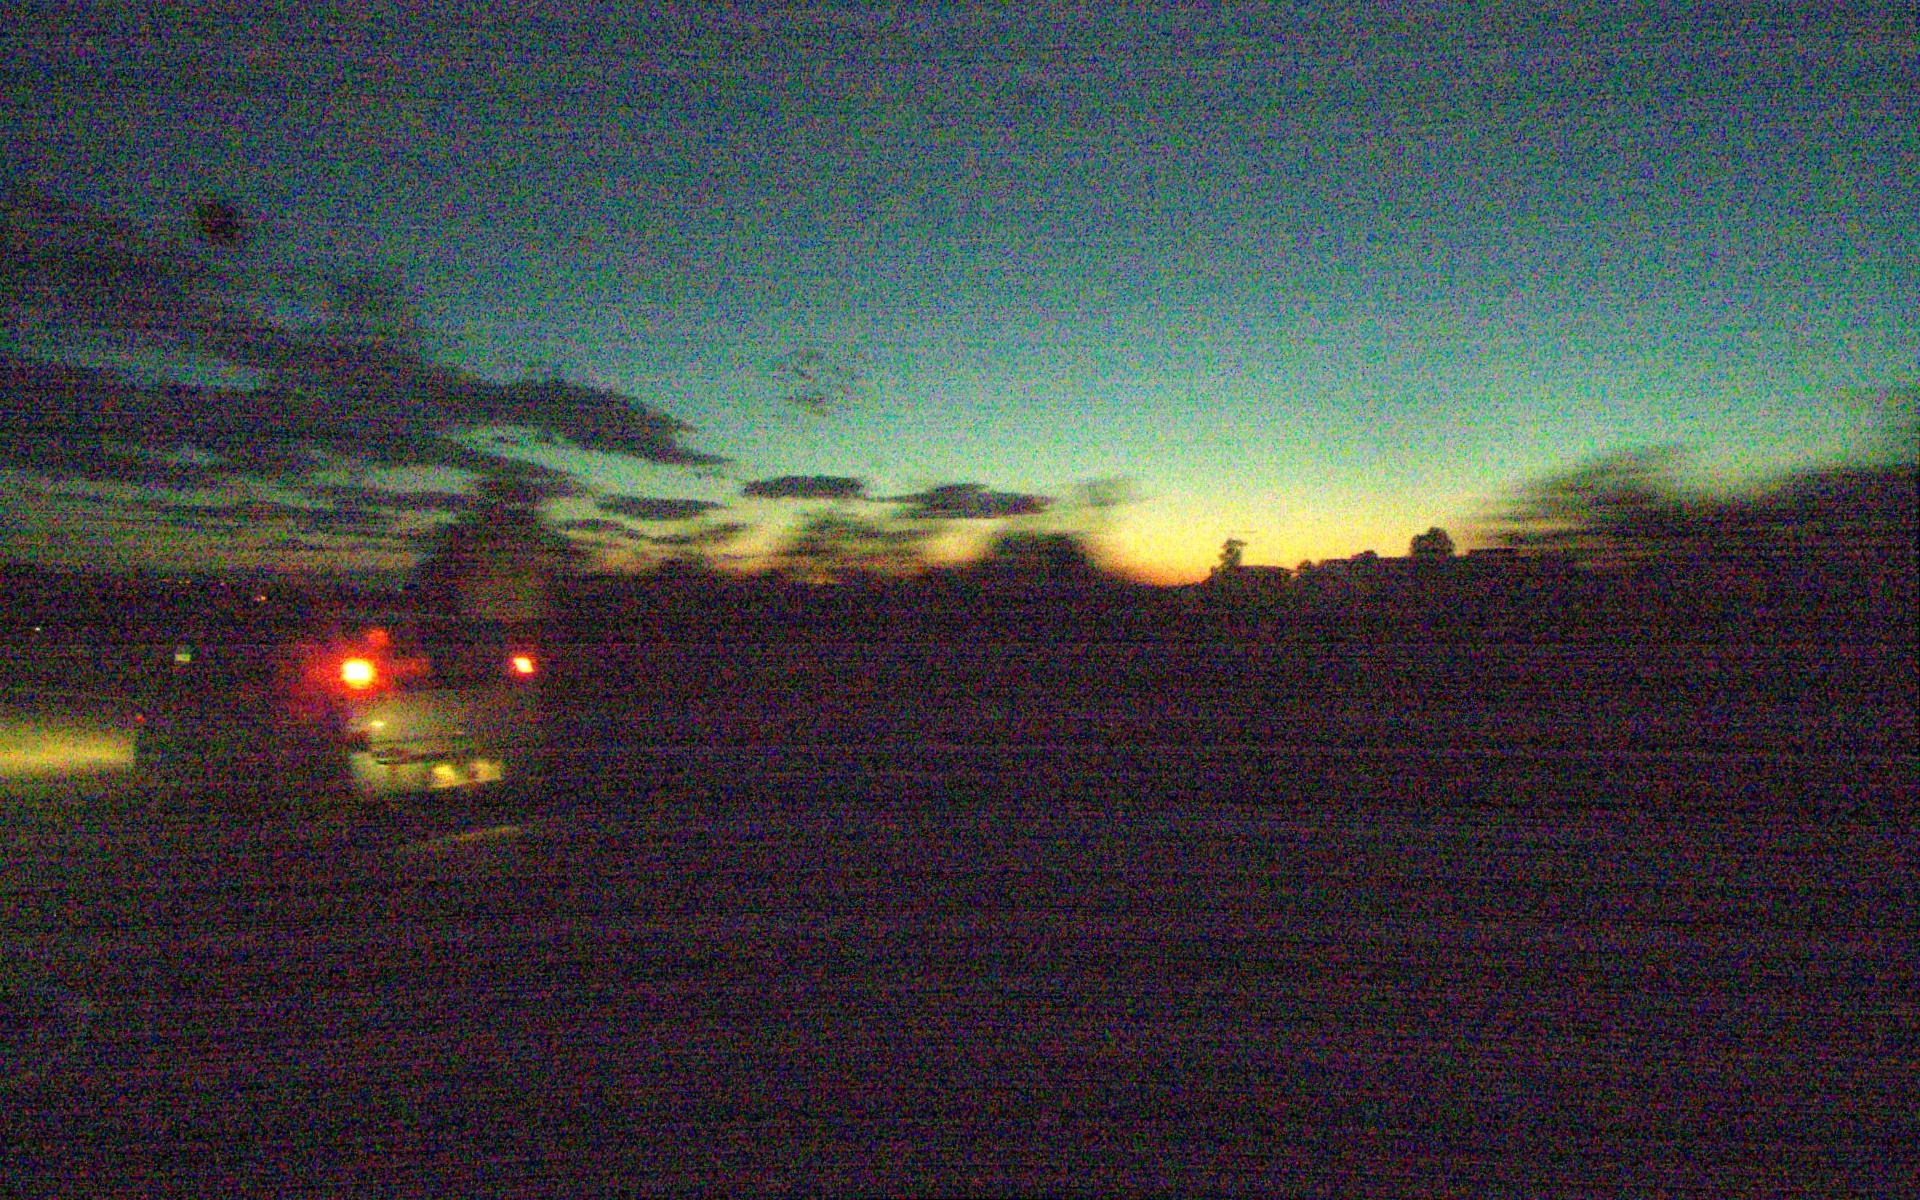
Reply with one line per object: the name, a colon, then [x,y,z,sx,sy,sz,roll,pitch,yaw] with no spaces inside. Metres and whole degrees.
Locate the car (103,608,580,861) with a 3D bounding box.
car: [-5.263,0.892,8.319,4.446,1.617,1.642,-1,0,33]
